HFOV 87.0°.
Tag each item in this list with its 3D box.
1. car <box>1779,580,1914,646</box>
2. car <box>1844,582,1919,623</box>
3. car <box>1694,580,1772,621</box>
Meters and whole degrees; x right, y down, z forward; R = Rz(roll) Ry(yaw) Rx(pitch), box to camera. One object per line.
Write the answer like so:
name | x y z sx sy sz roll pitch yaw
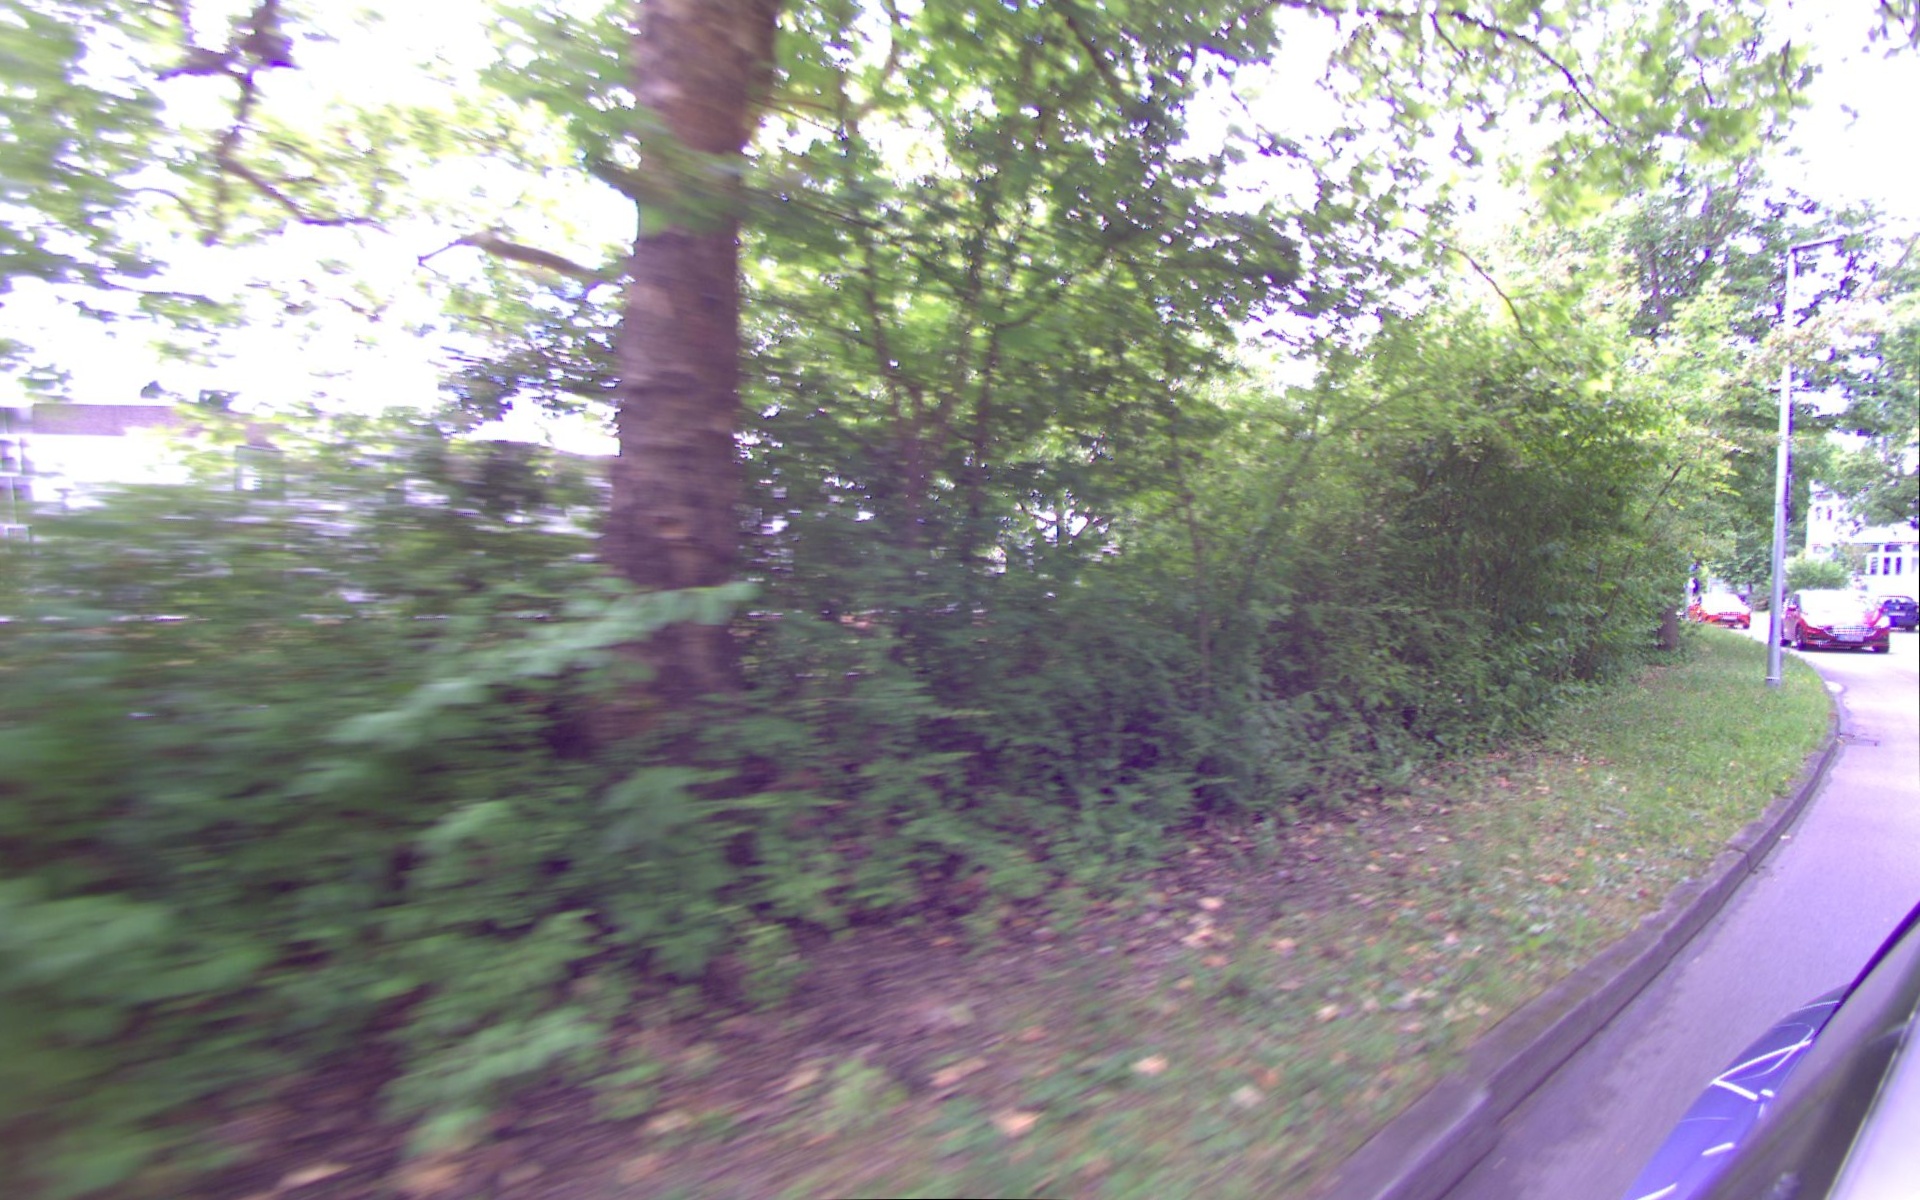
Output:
car | 24.118 0.287 27.708 1.846 1.638 4.430 1 1 29
car | 37.417 0.082 40.671 1.668 1.530 4.392 2 2 25
car | 32.760 -0.014 42.995 1.983 1.593 3.960 3 2 28
